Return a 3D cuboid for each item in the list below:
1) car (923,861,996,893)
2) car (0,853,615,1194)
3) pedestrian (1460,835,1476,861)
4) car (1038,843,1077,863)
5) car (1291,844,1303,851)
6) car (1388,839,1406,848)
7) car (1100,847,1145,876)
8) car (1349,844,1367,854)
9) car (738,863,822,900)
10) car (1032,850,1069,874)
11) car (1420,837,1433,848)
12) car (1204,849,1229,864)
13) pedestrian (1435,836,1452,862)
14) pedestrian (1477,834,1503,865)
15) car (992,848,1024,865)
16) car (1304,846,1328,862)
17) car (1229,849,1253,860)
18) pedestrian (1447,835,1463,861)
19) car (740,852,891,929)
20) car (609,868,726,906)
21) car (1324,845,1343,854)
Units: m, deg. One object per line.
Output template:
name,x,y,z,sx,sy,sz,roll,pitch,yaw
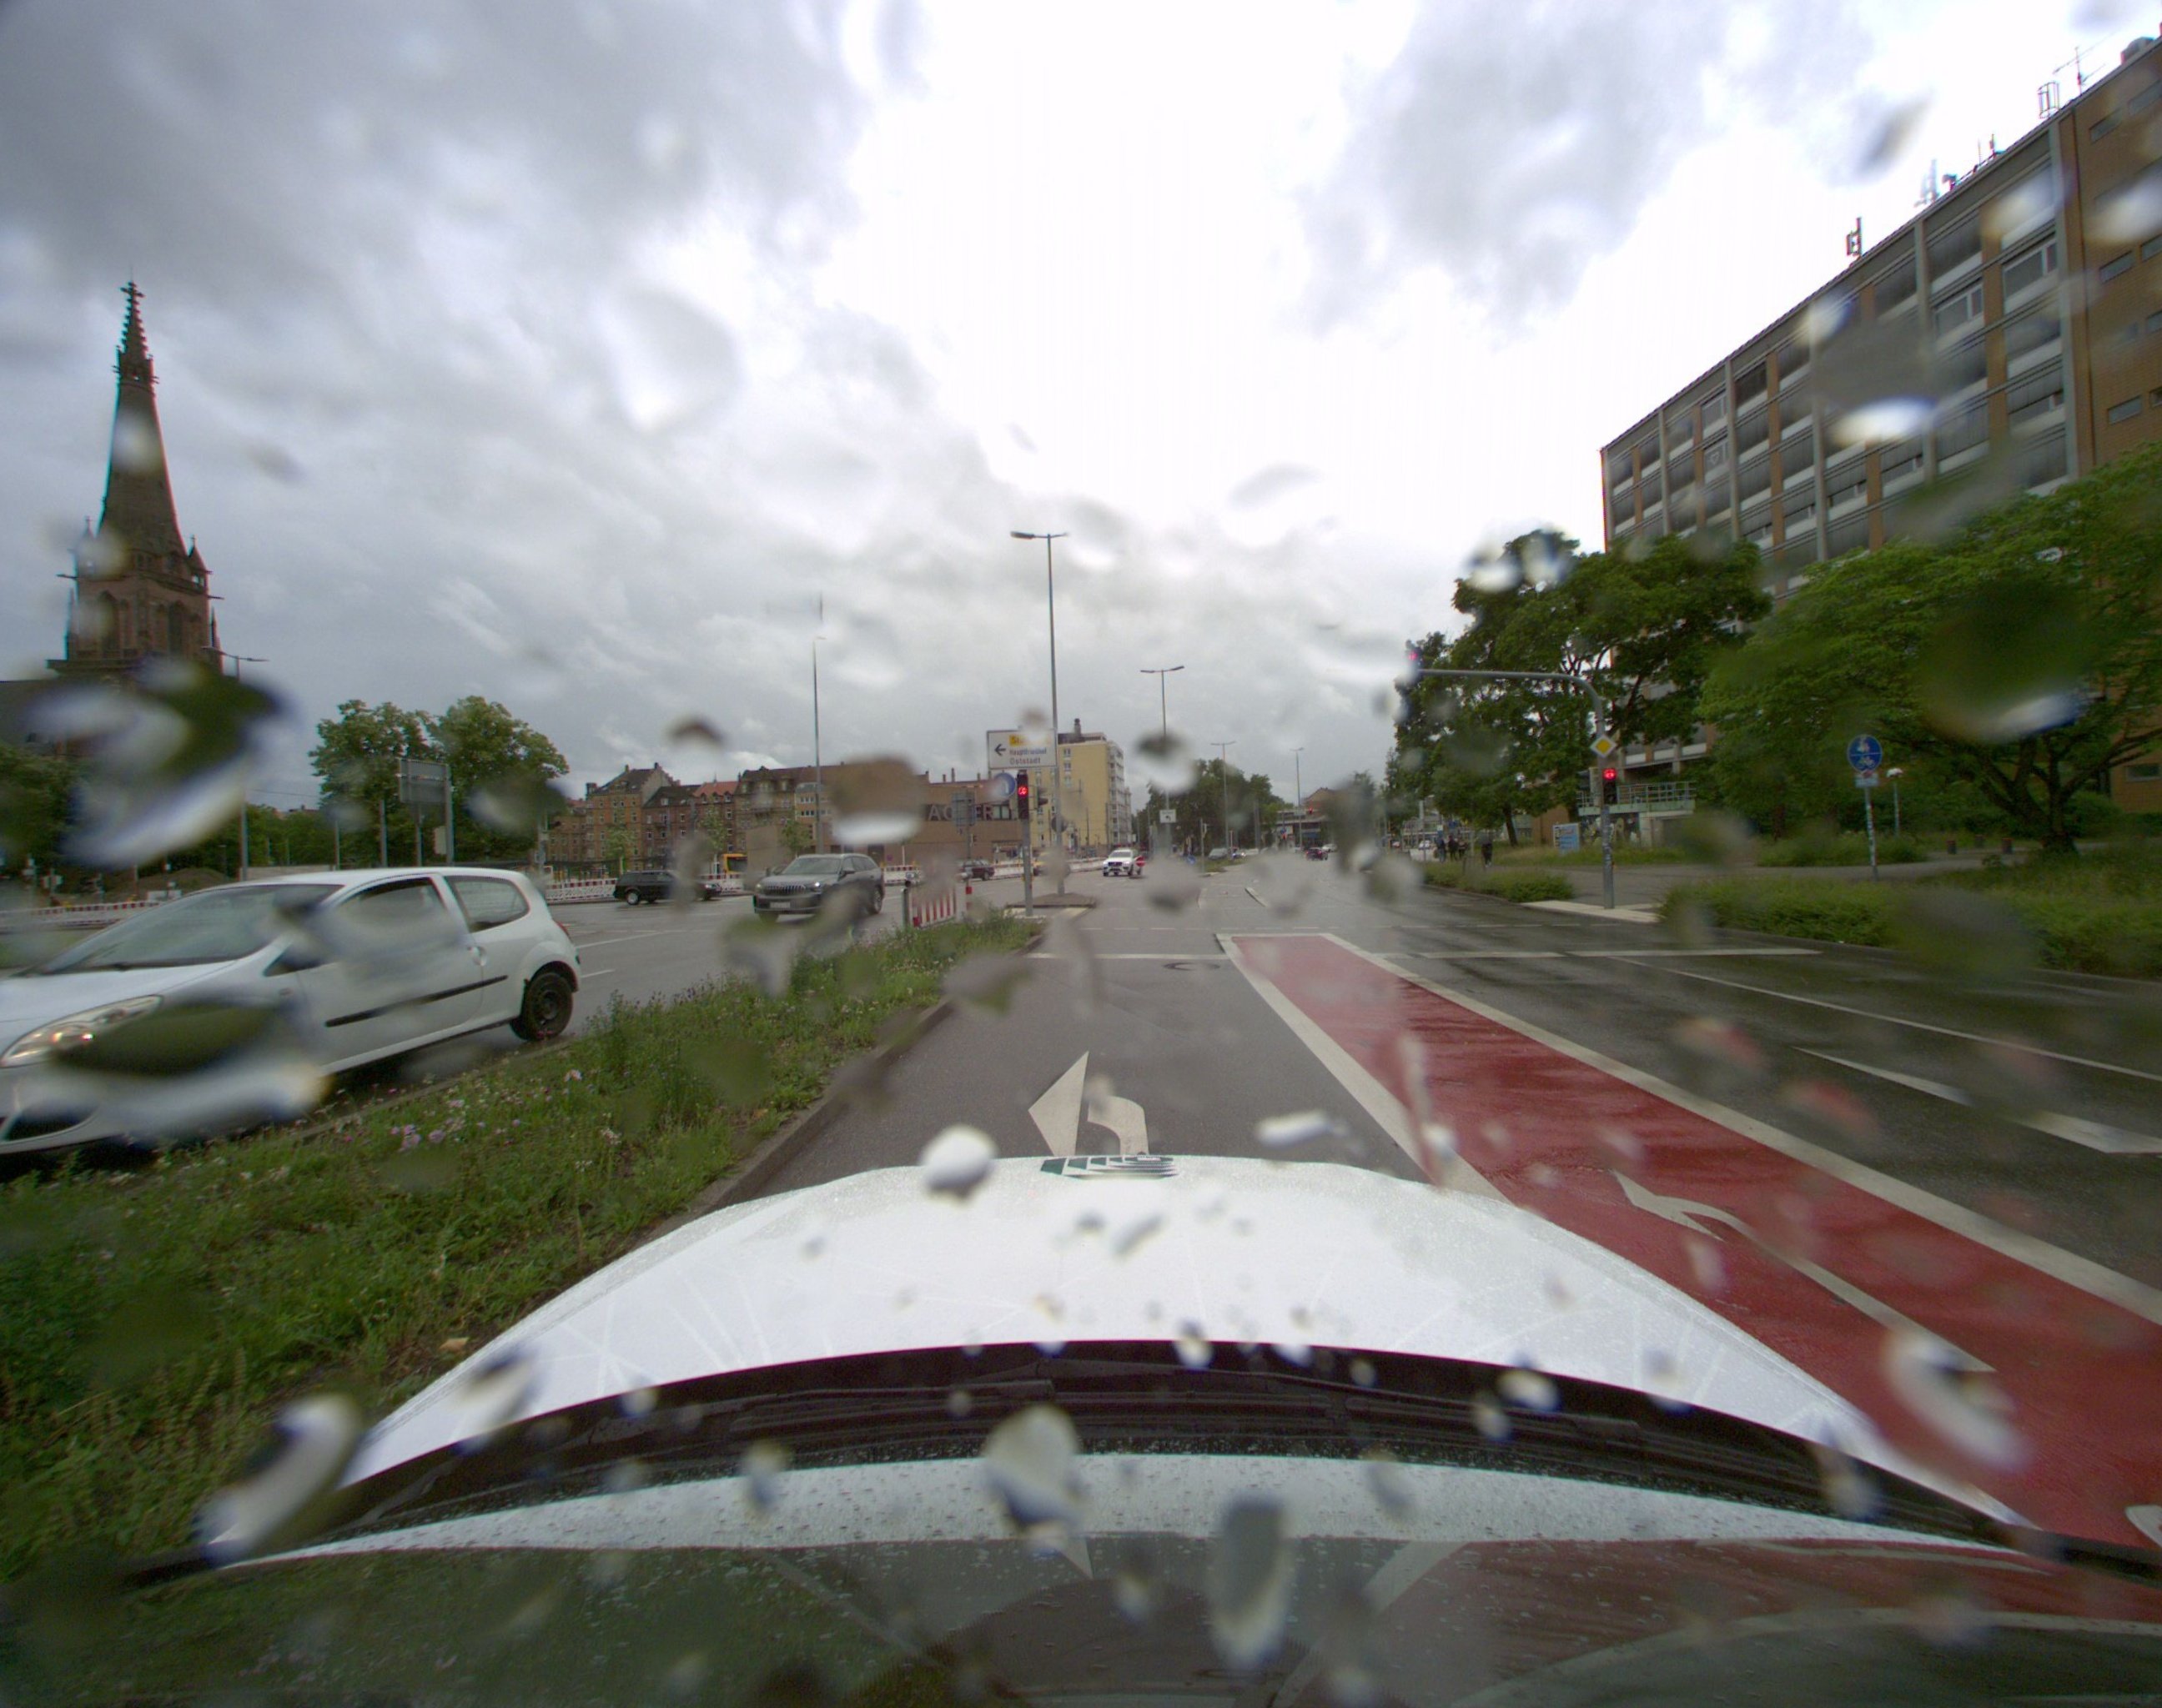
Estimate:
car,-7.334,1.362,49.662,1.689,1.706,4.489,-2,0,36
car,-5.284,0.801,5.630,1.672,1.501,3.871,-3,0,3
pedestrian,24.325,-0.406,51.195,0.698,1.588,0.940,-2,0,15
car,-4.241,-0.263,149.814,6.705,3.380,2.815,-3,0,7
car,50.719,-1.536,190.955,1.773,1.643,4.185,-2,0,28
car,63.373,-2.059,163.158,4.070,1.643,1.773,-2,0,-45
car,2.903,0.459,55.468,1.812,1.682,5.188,-4,0,16
car,53.106,-0.977,156.131,1.773,1.858,4.185,-2,0,41
car,-15.775,1.403,42.770,3.834,1.706,1.693,-2,0,-32
car,-2.281,0.594,62.319,1.693,1.706,4.169,-2,0,14
car,56.121,-1.827,132.234,1.773,1.643,4.184,-2,0,26
car,17.246,0.294,103.493,1.677,1.690,4.210,-3,2,30
pedestrian,22.587,-0.338,50.730,0.748,1.588,0.940,-2,0,15
pedestrian,21.352,-0.225,42.523,1.015,1.588,0.940,-2,0,15
car,-13.476,0.423,151.135,5.322,2.887,2.344,-3,0,7
car,26.846,-0.004,92.934,1.773,1.643,4.184,-2,0,26
car,22.427,0.103,114.186,1.755,1.376,4.147,-2,0,34
pedestrian,23.504,-0.369,51.184,0.698,1.588,0.940,-2,0,15
car,-6.632,0.832,20.982,1.985,1.636,4.608,-4,0,4
car,-18.073,1.421,35.721,4.180,1.402,1.617,-2,0,-2
car,48.382,-0.813,156.022,1.773,1.643,4.424,-2,0,40
